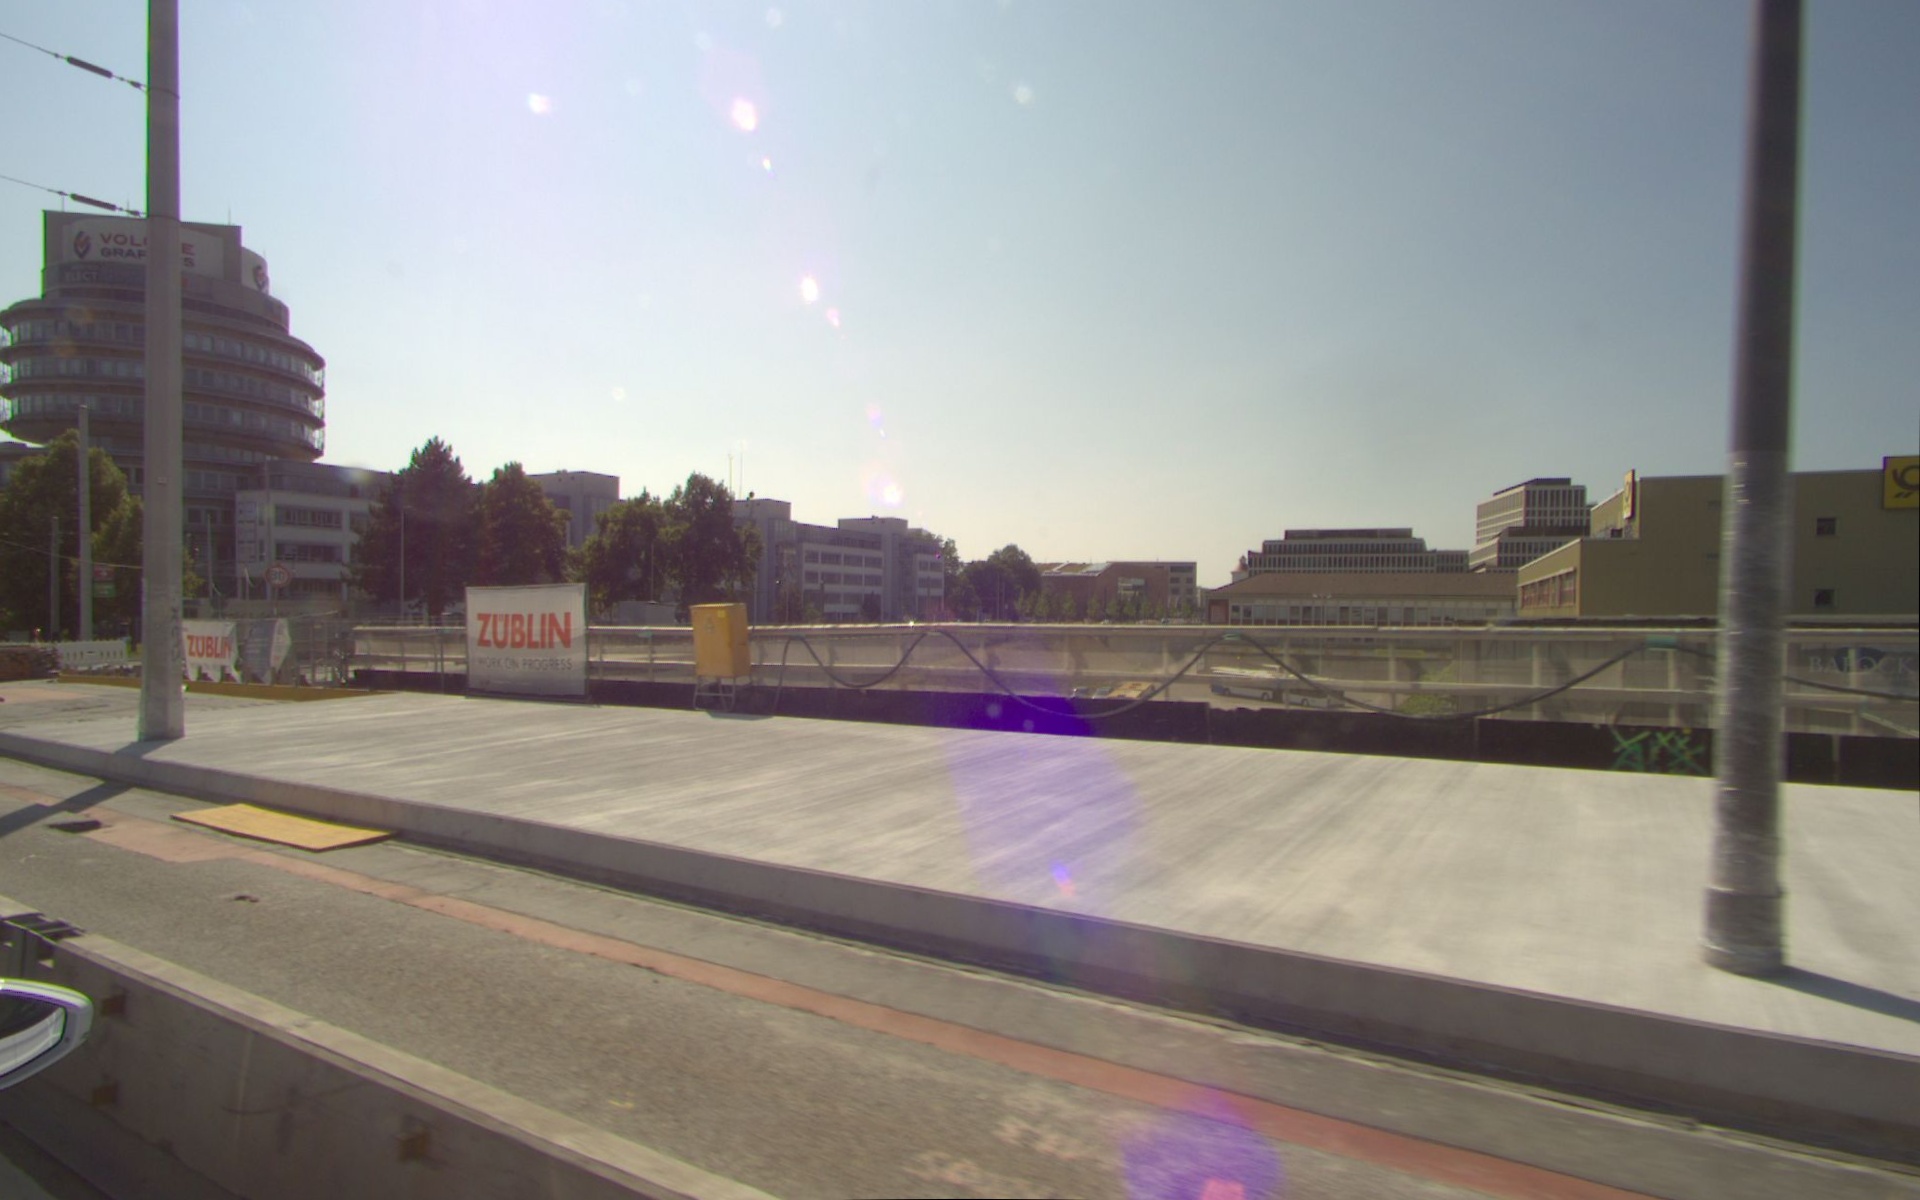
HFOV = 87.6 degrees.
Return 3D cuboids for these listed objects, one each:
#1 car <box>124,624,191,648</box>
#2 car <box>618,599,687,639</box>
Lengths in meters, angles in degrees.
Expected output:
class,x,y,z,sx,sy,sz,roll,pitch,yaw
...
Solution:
class,x,y,z,sx,sy,sz,roll,pitch,yaw
car,-64.079,2.921,79.999,1.657,1.821,3.807,1,-1,32
car,-23.848,1.511,77.923,2.302,2.924,5.967,2,-1,13
